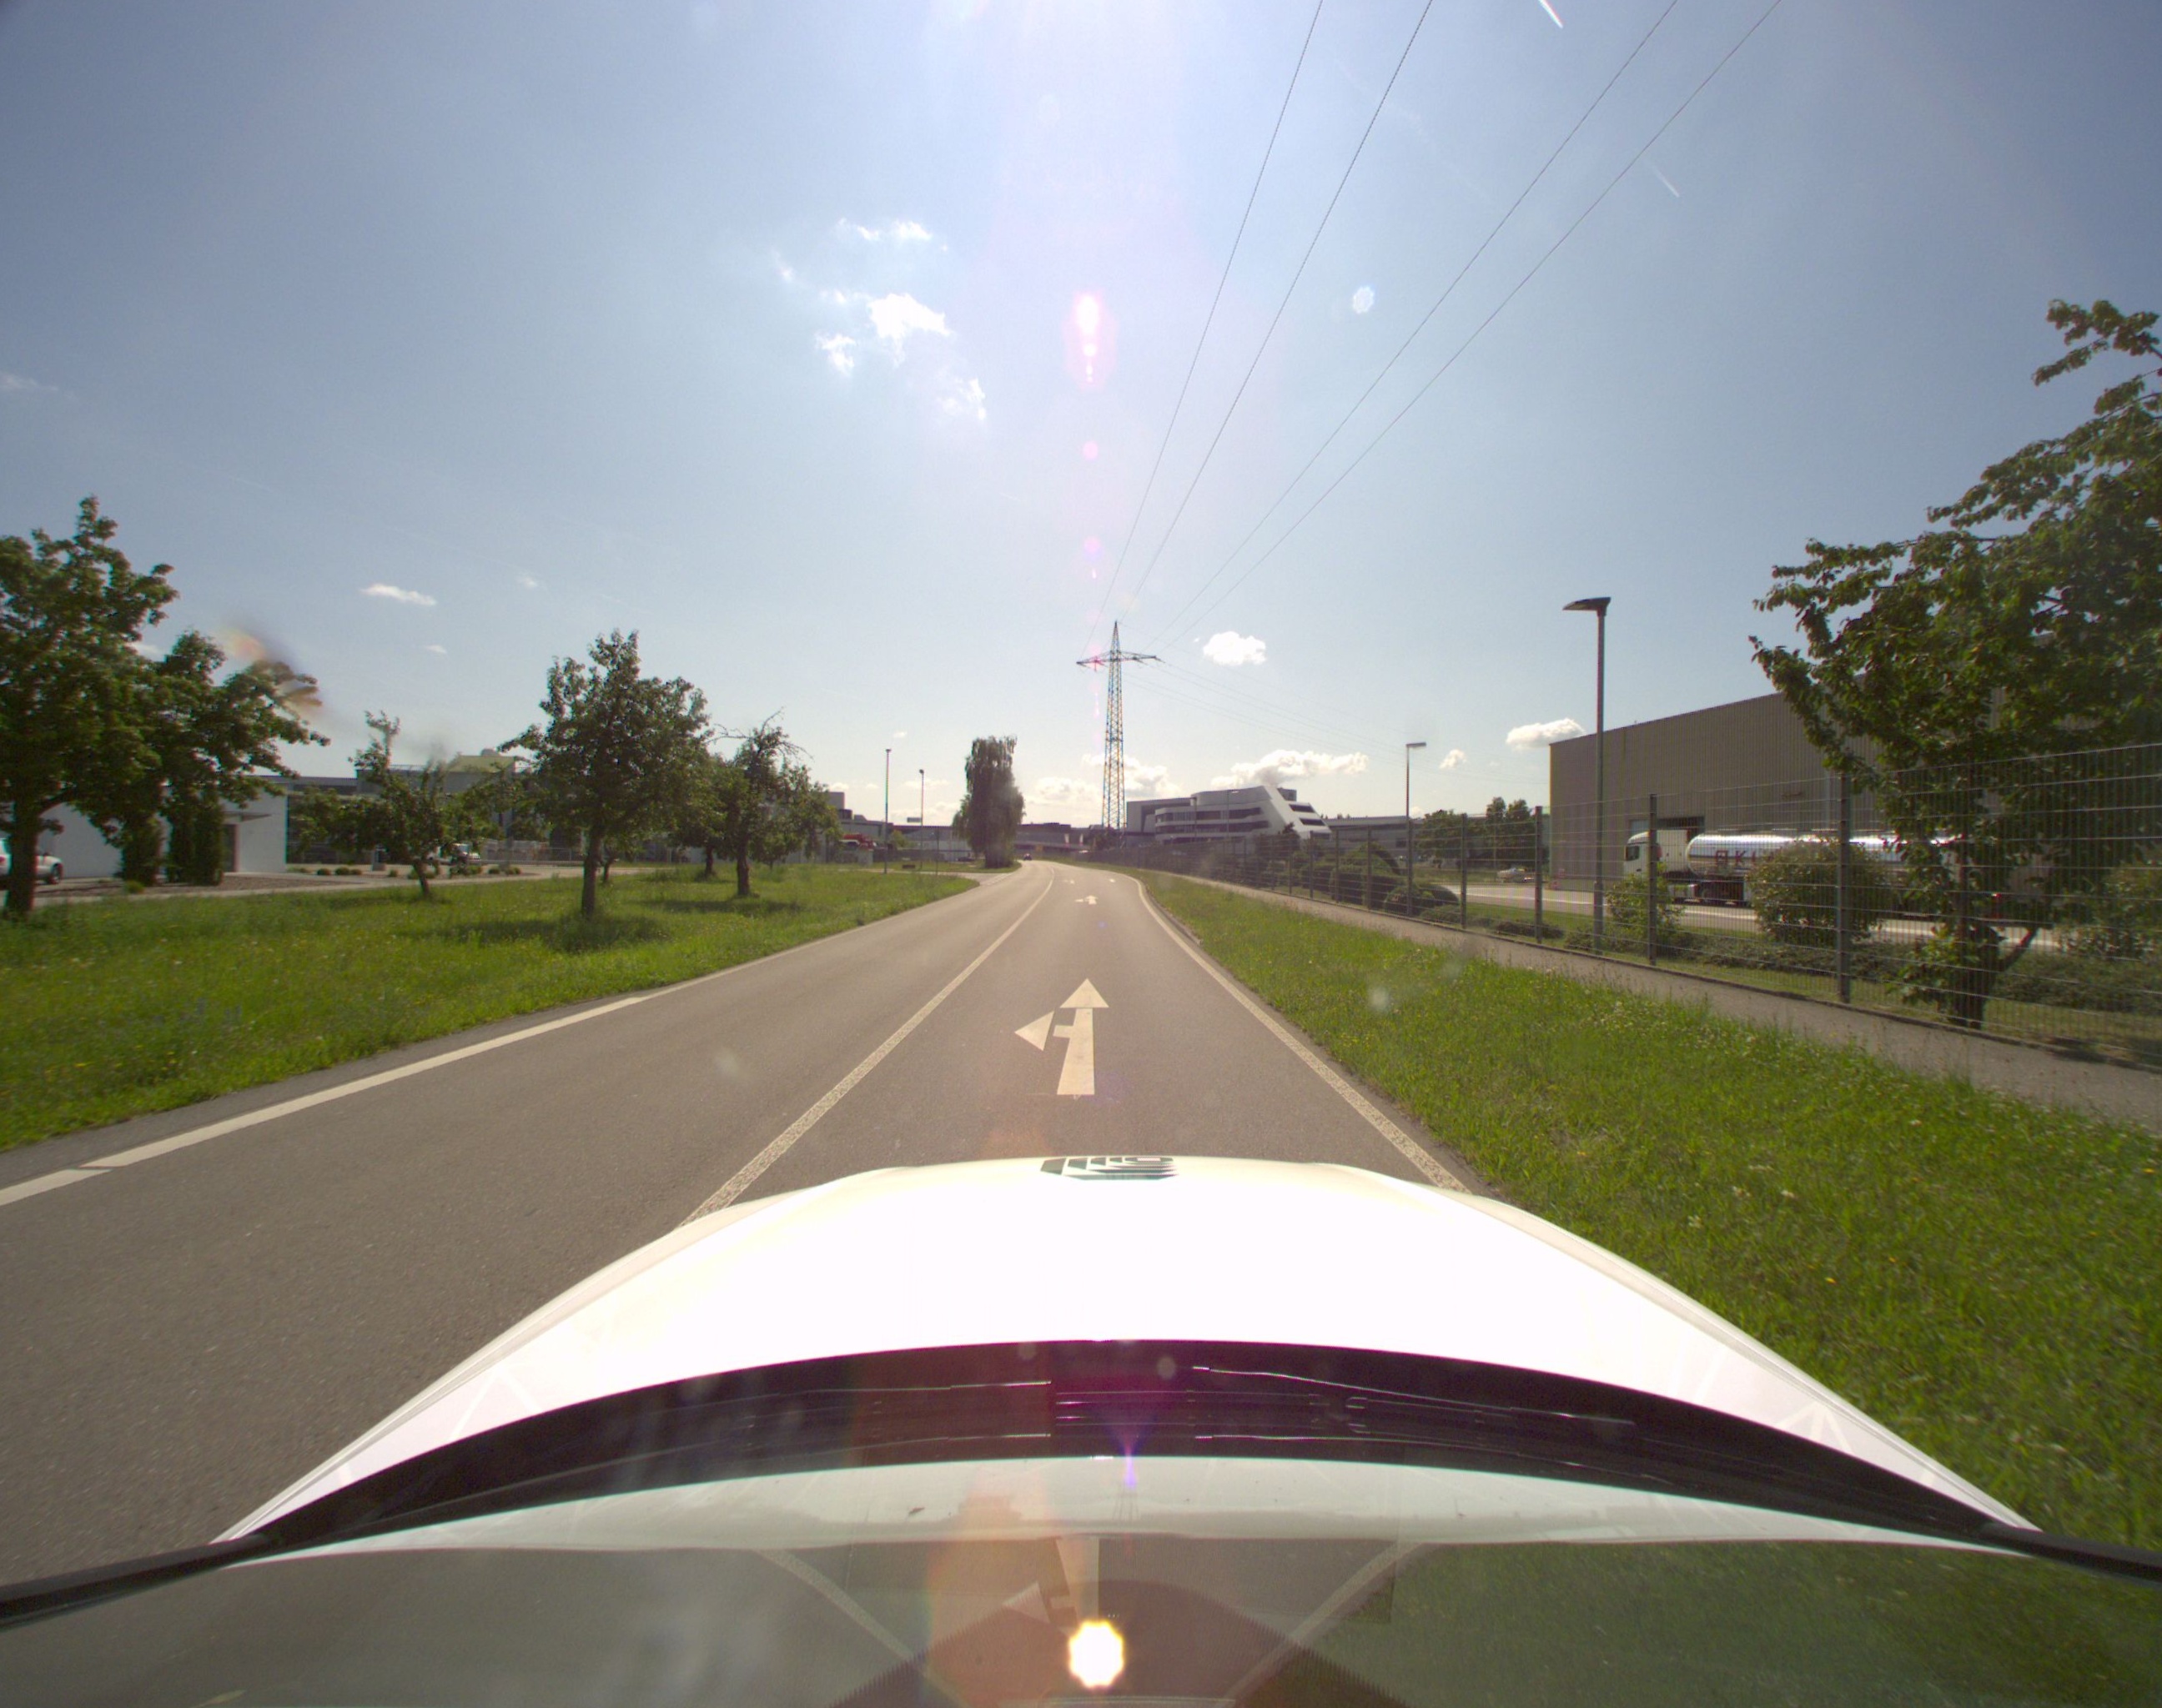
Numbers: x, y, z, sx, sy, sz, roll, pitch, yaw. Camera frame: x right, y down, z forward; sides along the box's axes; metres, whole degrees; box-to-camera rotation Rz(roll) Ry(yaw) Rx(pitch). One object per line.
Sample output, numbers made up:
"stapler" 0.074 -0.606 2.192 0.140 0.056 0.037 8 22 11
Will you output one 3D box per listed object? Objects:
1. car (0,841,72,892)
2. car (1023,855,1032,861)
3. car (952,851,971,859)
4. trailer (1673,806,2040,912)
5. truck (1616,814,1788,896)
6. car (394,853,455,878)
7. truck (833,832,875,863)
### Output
"car" -36.665 0.383 27.544 2.007 1.640 4.127 1 0 -33
"car" -13.099 0.923 199.022 2.006 1.508 3.998 1 0 -1
"car" -25.366 0.152 172.909 3.981 1.574 1.996 1 0 -6
"trailer" 32.087 0.152 35.095 3.584 3.735 12.217 -1 0 -5
"truck" 31.573 0.028 41.835 3.590 3.867 6.393 -1 0 -7
"car" -57.332 0.973 71.202 1.993 2.013 4.728 1 0 -9
"truck" -27.461 -0.728 98.913 2.747 3.559 10.255 1 0 -3
